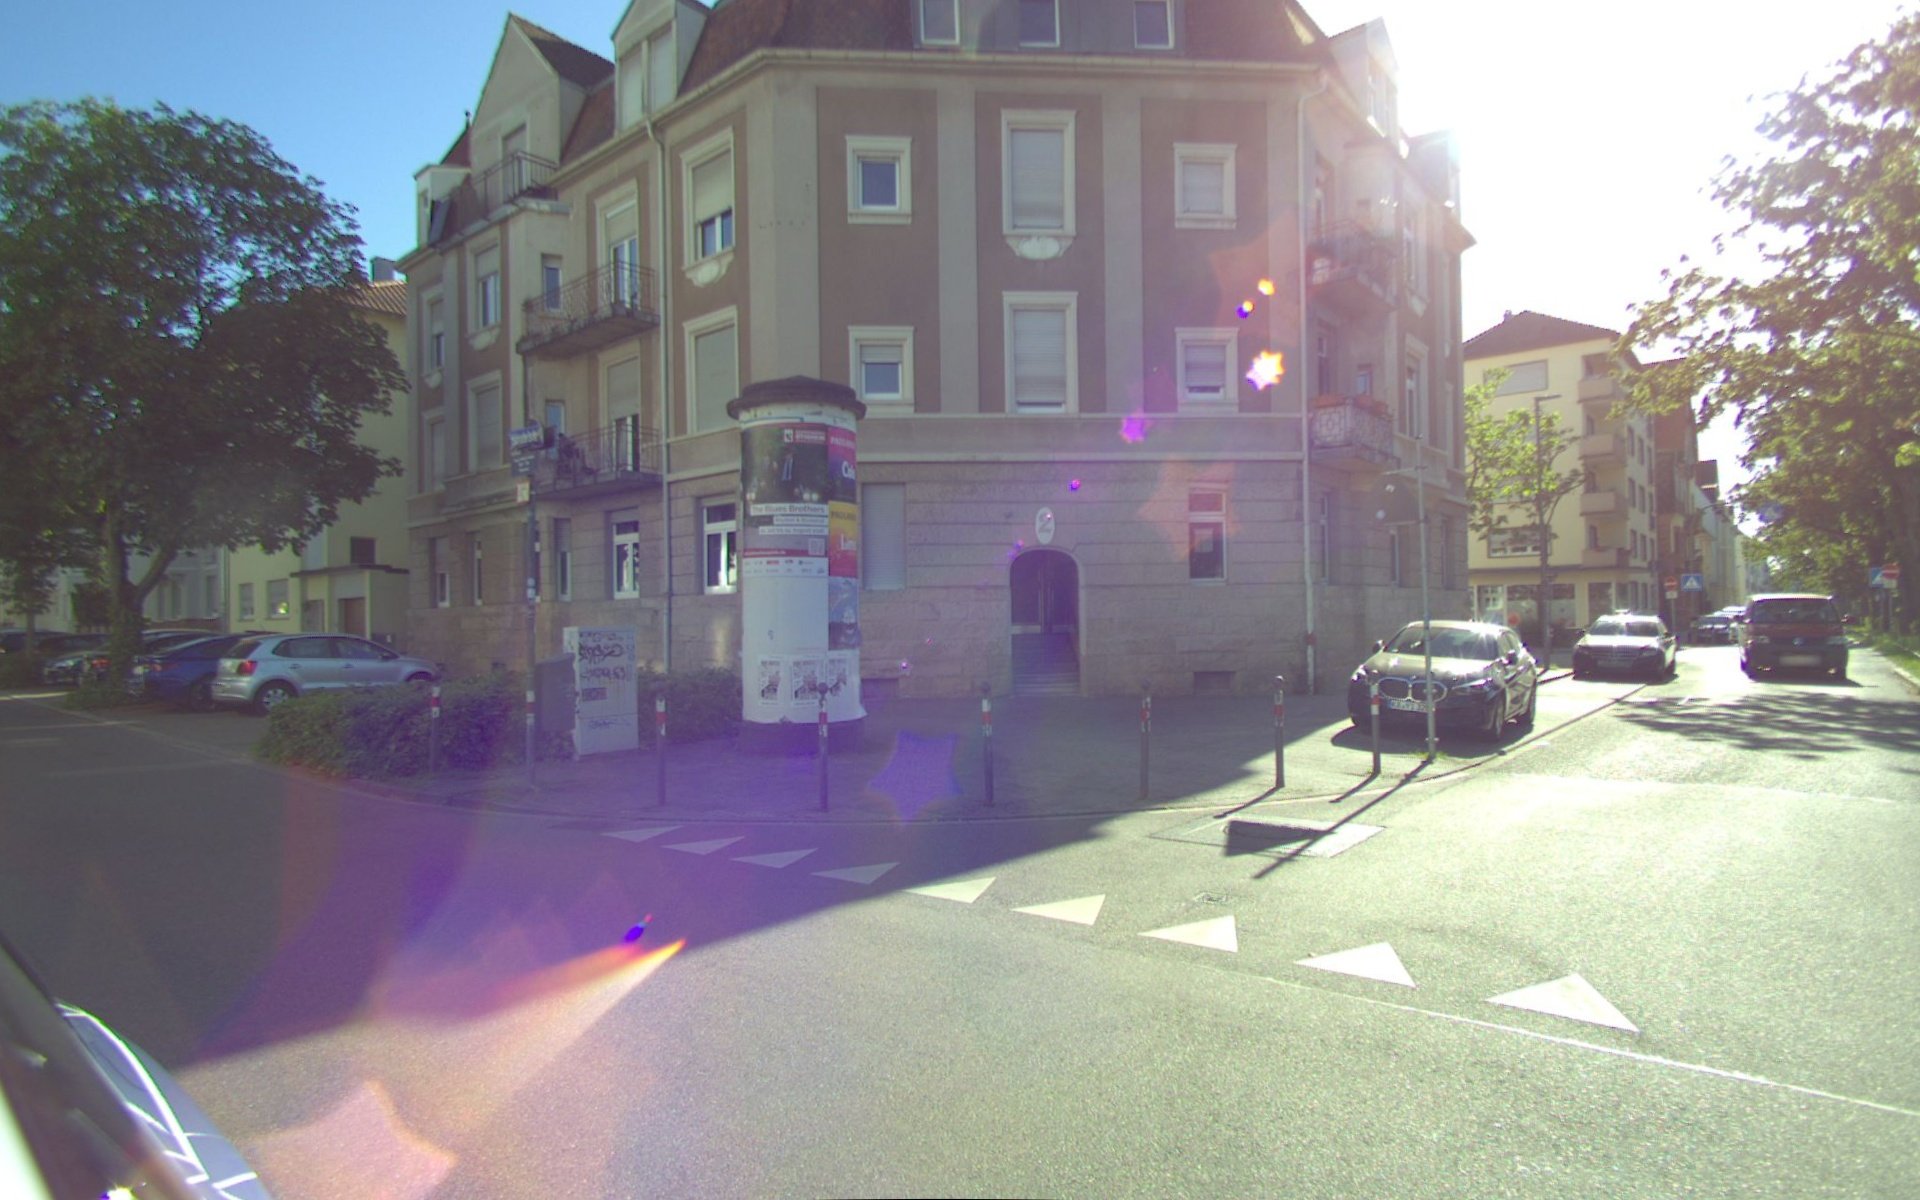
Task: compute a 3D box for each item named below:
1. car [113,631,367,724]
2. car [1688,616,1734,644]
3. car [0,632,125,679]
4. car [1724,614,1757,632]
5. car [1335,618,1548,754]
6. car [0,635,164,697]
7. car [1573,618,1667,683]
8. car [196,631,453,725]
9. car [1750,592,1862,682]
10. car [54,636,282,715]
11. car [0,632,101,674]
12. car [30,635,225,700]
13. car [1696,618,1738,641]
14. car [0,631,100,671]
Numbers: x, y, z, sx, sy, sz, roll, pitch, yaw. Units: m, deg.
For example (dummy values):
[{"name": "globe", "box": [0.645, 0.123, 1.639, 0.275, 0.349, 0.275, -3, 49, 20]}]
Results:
[{"name": "car", "box": [-13.993, 1.432, 19.839, 1.689, 1.506, 3.744, -2, -1, 37]}, {"name": "car", "box": [36.970, 1.465, 49.796, 1.679, 1.271, 3.752, -3, -2, 38]}, {"name": "car", "box": [-33.332, 2.017, 37.200, 1.688, 1.506, 3.746, -2, -1, 35]}, {"name": "car", "box": [52.286, 1.557, 67.790, 1.679, 1.141, 3.700, -3, -2, 38]}, {"name": "car", "box": [6.693, 1.036, 13.849, 1.865, 1.495, 3.964, 2, 0, 37]}, {"name": "car", "box": [-25.220, 1.833, 28.760, 1.684, 1.506, 3.757, -2, -1, 27]}, {"name": "car", "box": [16.488, 1.200, 25.202, 1.678, 1.426, 3.856, 2, 0, 37]}, {"name": "car", "box": [-11.824, 1.386, 19.037, 1.689, 1.455, 3.744, -2, -1, 37]}, {"name": "car", "box": [20.375, 0.835, 24.531, 1.894, 1.975, 4.824, 0, -1, 38]}, {"name": "car", "box": [-18.012, 1.665, 23.196, 1.684, 1.506, 3.757, -2, -1, 27]}, {"name": "car", "box": [-36.692, 2.083, 40.292, 1.688, 1.506, 3.489, -2, -1, 35]}, {"name": "car", "box": [-22.497, 1.789, 27.491, 1.684, 1.506, 3.757, -2, -1, 27]}, {"name": "car", "box": [40.317, 1.562, 53.856, 1.679, 1.141, 3.700, -3, -2, 38]}, {"name": "car", "box": [-38.499, 2.111, 42.388, 1.688, 1.506, 3.489, -2, -1, 35]}]
